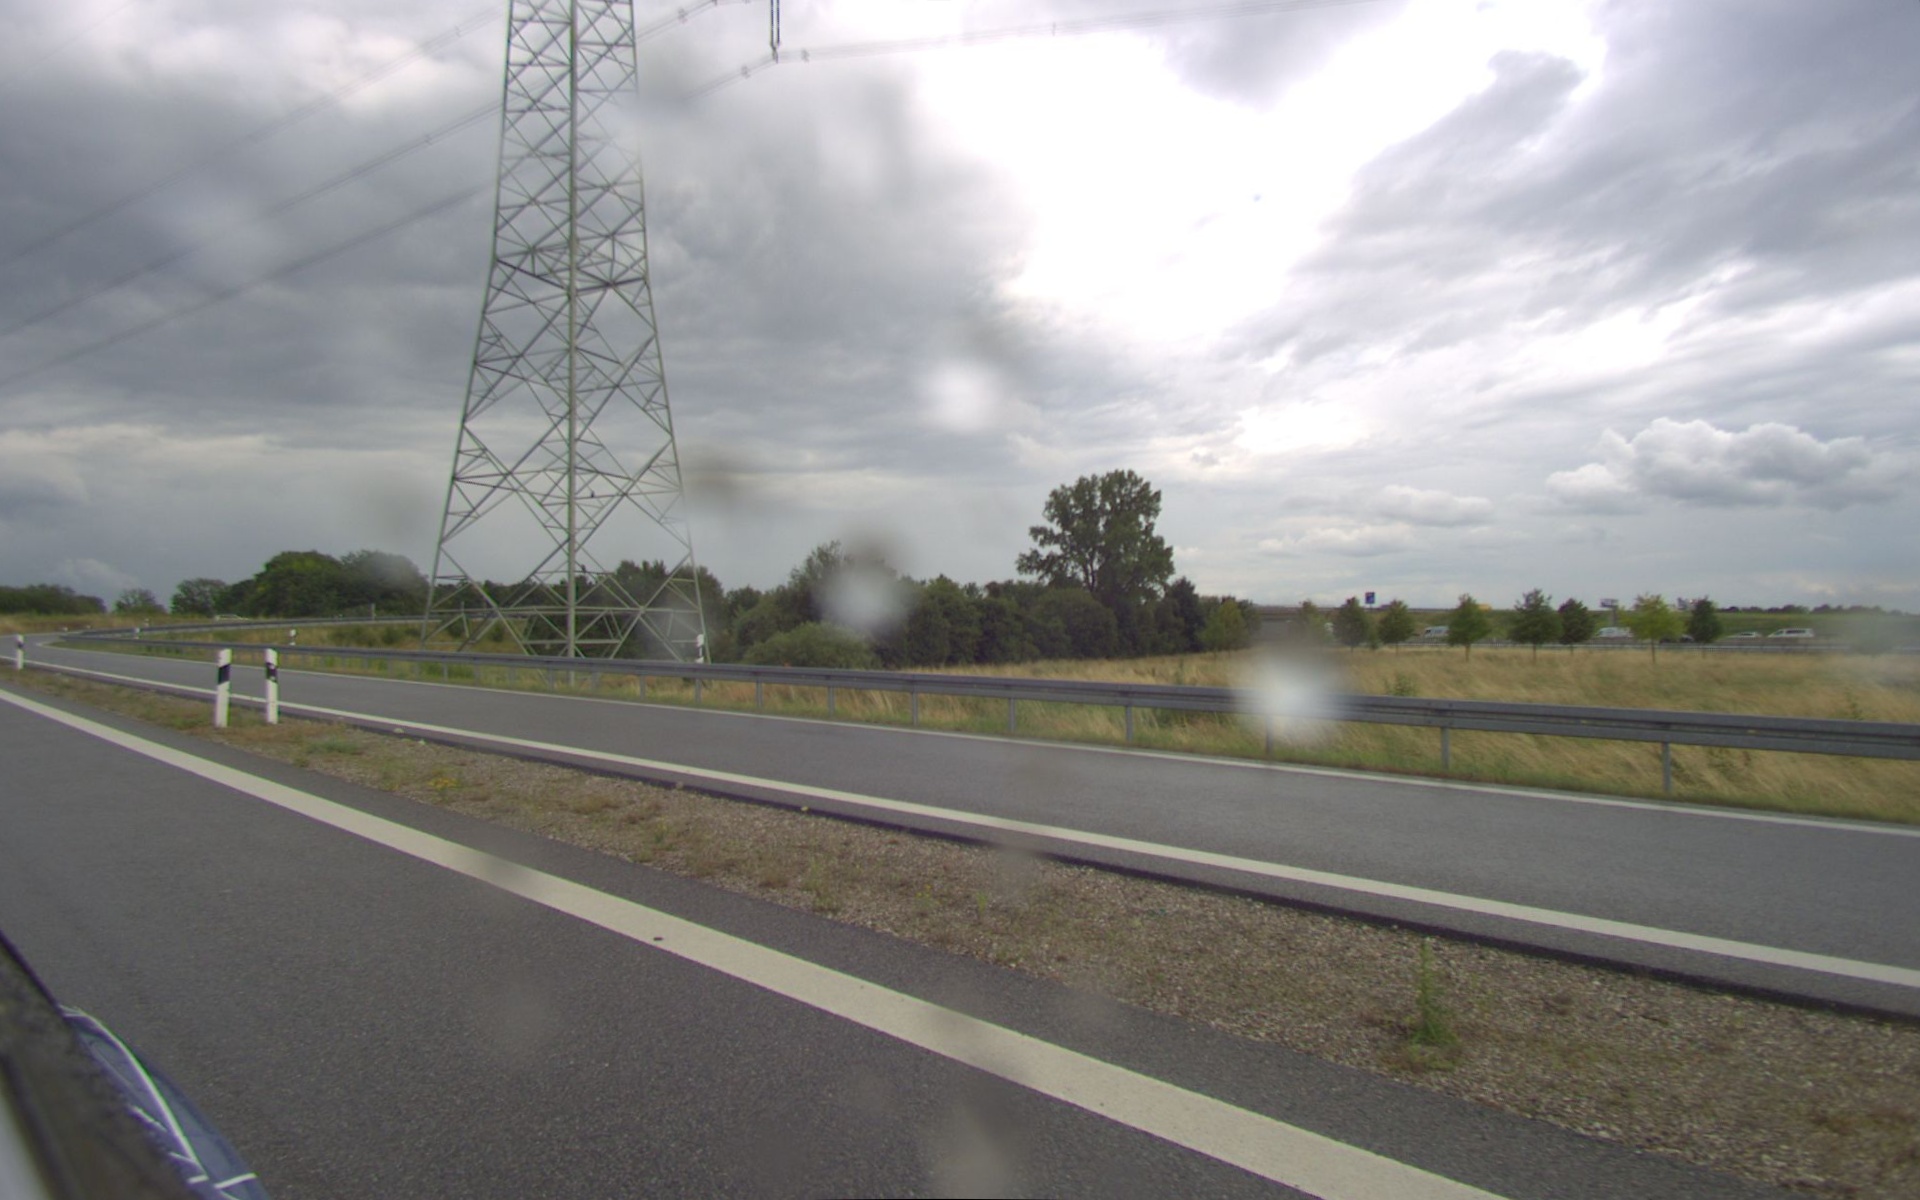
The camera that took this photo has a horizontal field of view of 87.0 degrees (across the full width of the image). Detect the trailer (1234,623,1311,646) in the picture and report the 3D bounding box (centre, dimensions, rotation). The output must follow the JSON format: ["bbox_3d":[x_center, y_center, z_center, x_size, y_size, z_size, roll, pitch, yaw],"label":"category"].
[{"bbox_3d":[53.649,5.998,174.328,2.812,3.811,13.692,0,-2,-36],"label":"trailer"}]

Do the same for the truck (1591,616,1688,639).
[{"bbox_3d":[106.274,4.392,158.550,3.177,3.115,12.078,-2,-2,-33],"label":"truck"}]
